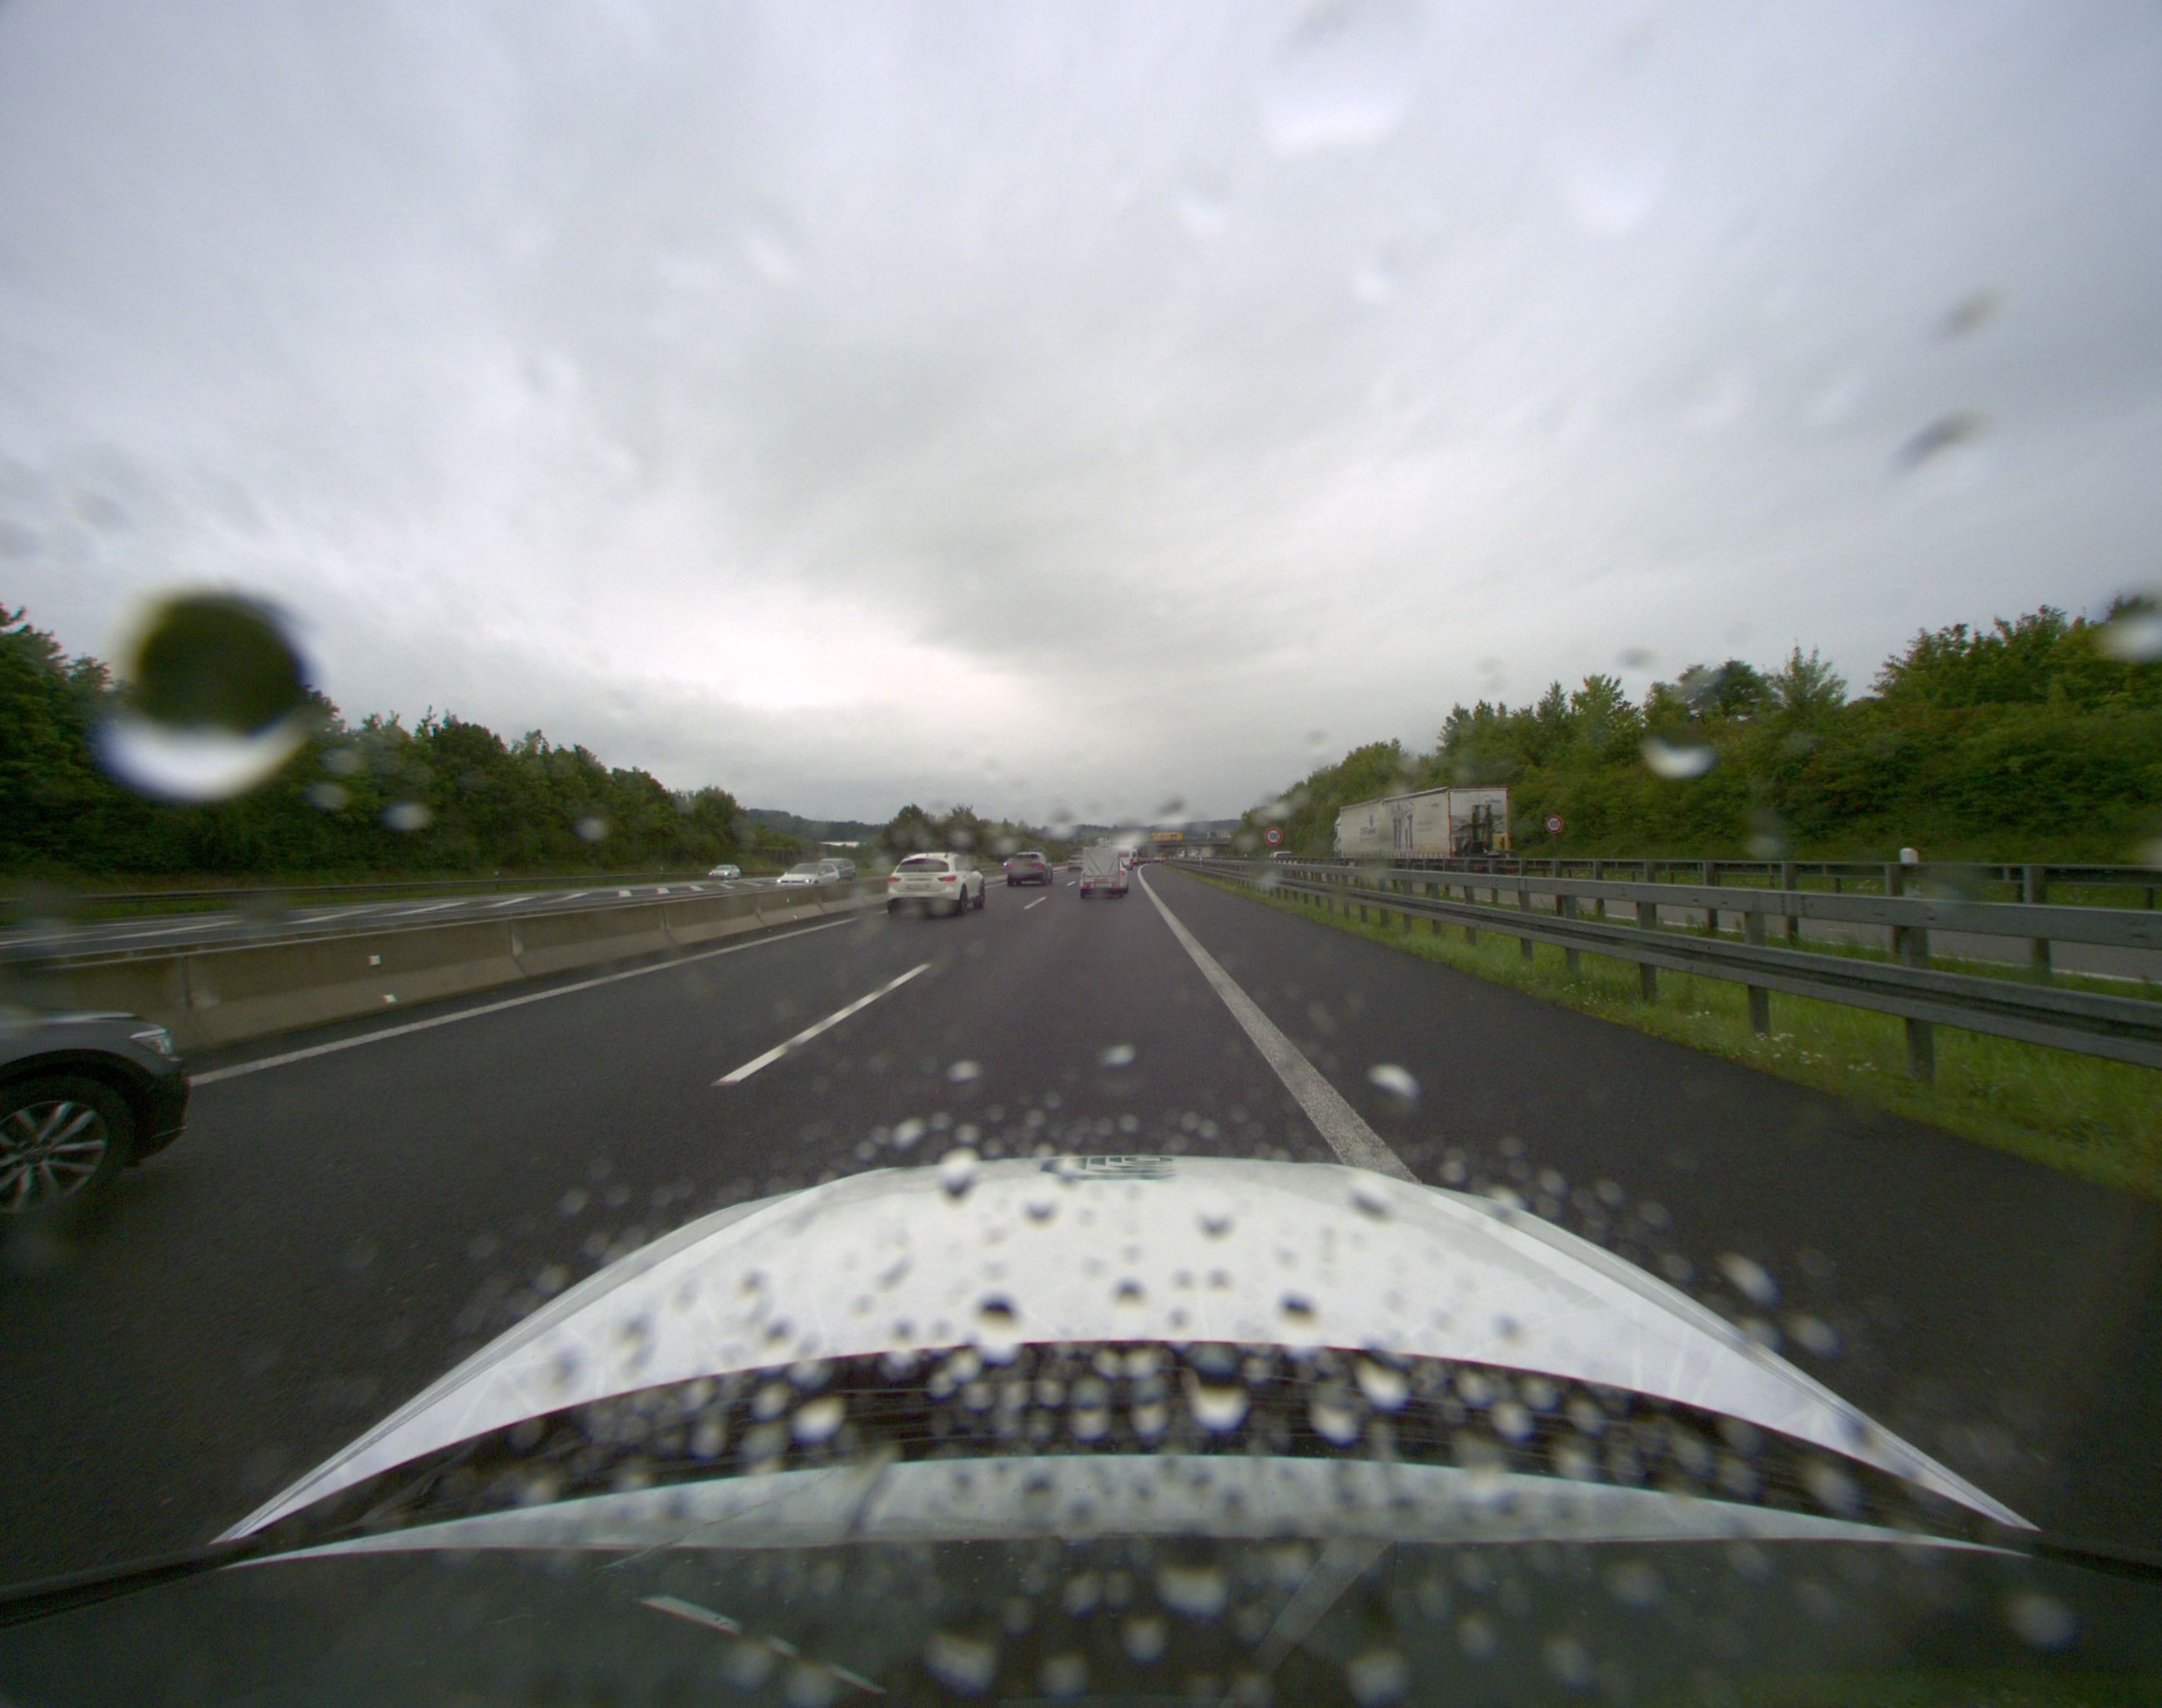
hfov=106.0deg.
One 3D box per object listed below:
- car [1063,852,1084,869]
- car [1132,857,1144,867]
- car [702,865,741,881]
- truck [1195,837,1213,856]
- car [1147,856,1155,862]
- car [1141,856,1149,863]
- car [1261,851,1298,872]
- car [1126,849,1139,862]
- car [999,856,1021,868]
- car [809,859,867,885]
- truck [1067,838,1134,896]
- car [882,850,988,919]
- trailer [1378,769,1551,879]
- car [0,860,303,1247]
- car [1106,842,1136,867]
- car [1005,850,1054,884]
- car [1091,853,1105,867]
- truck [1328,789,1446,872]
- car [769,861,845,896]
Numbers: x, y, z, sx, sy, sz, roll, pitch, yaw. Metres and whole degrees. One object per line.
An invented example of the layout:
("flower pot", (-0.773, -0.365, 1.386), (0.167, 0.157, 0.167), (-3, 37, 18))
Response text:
("car", (-0.727, 0.661, 83.268), (1.893, 1.613, 4.019), (-1, 0, 2))
("car", (10.548, 1.491, 150.080), (1.986, 1.750, 4.001), (0, 0, 1))
("car", (-34.521, 1.775, 78.262), (2.177, 1.430, 4.378), (-1, 0, -7))
("truck", (34.388, -2.008, 227.854), (4.074, 5.103, 10.477), (-1, 0, 5))
("car", (20.251, 1.411, 235.633), (1.983, 1.750, 4.007), (0, 0, 6))
("car", (16.116, 1.276, 205.810), (1.984, 1.750, 4.005), (0, 0, 5))
("car", (14.192, 0.519, 58.373), (1.852, 1.447, 4.161), (-1, 0, 3))
("car", (8.241, 0.312, 130.635), (1.986, 2.036, 4.152), (0, 0, 1))
("car", (-10.235, 1.146, 117.693), (2.169, 1.696, 5.259), (-1, 0, 6))
("car", (-16.063, 1.157, 54.072), (2.170, 1.635, 4.542), (-1, 0, 4))
("truck", (0.902, 0.447, 31.740), (2.009, 1.985, 7.224), (-1, 0, 6))
("car", (-3.839, 0.759, 22.268), (1.969, 1.639, 4.501), (-1, 0, 1))
("trailer", (17.172, -1.194, 37.646), (3.423, 4.289, 10.461), (-1, 0, 3))
("car", (-5.216, 0.805, 1.963), (1.893, 1.497, 4.853), (-1, 0, 2))
("car", (4.477, 0.002, 89.726), (3.002, 2.616, 6.084), (-1, 0, 5))
("car", (-2.625, 0.661, 42.774), (2.166, 1.631, 4.501), (-1, 0, 1))
("car", (2.282, 0.813, 108.930), (1.834, 1.819, 4.003), (-1, 0, 2))
("truck", (17.700, -1.223, 48.116), (3.423, 4.289, 10.425), (-1, 0, 3))
("car", (-12.865, 1.123, 38.494), (1.975, 1.506, 4.143), (-1, 0, 2))
